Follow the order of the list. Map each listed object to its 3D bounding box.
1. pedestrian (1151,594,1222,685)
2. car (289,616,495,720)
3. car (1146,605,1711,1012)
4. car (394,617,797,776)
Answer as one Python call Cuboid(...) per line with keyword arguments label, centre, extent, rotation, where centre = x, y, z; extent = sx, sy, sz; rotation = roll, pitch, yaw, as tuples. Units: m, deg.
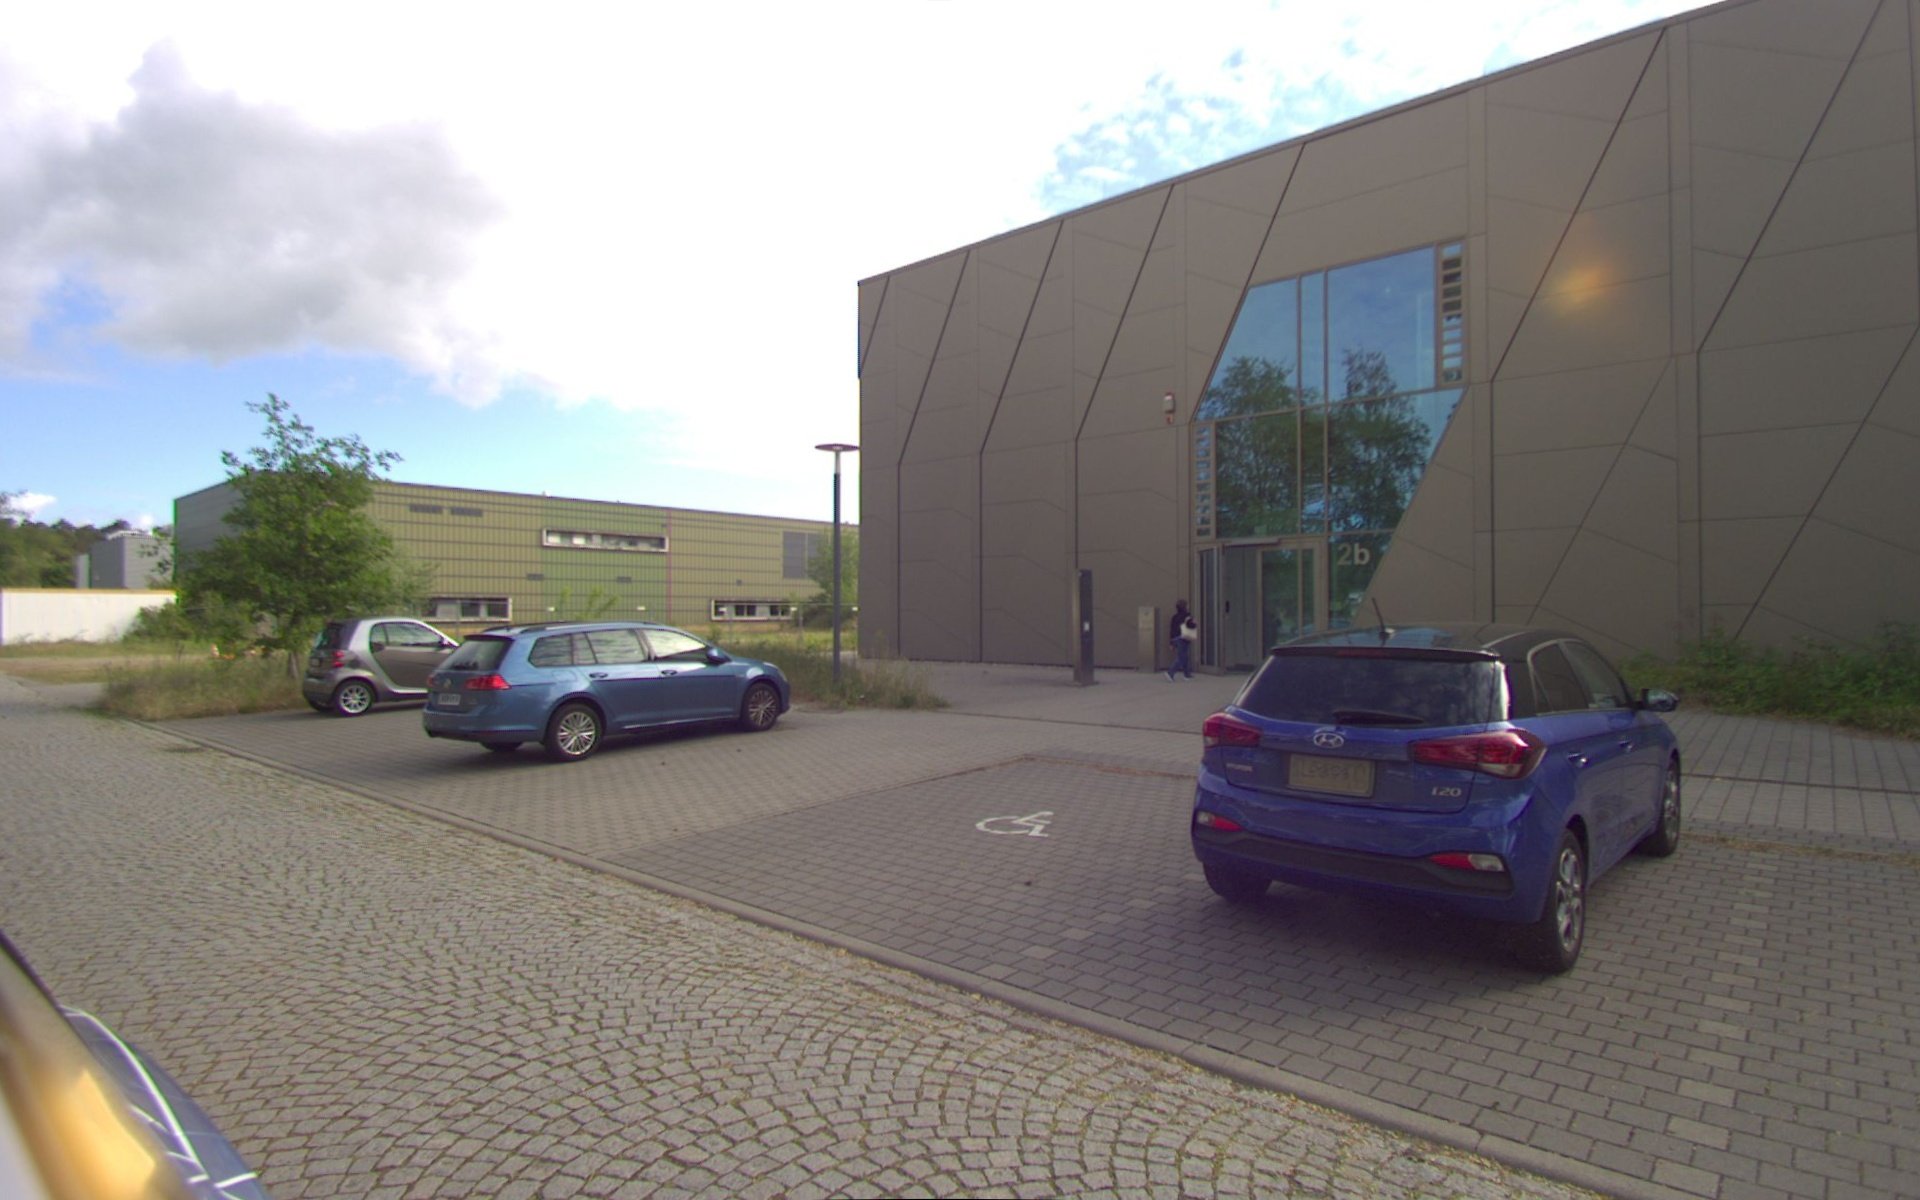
Cuboid(label="pedestrian", centre=(4.048, 0.687, 18.090), extent=(0.818, 1.505, 0.973), rotation=(-1, 3, 41))
Cuboid(label="car", centre=(-9.527, 1.072, 17.066), extent=(1.609, 1.522, 2.627), rotation=(-1, 0, 40))
Cuboid(label="car", centre=(2.908, 0.819, 5.863), extent=(1.852, 1.489, 3.724), rotation=(-1, 0, 44))
Cuboid(label="car", centre=(-4.138, 0.988, 12.116), extent=(1.771, 1.439, 4.265), rotation=(-1, 0, 38))
